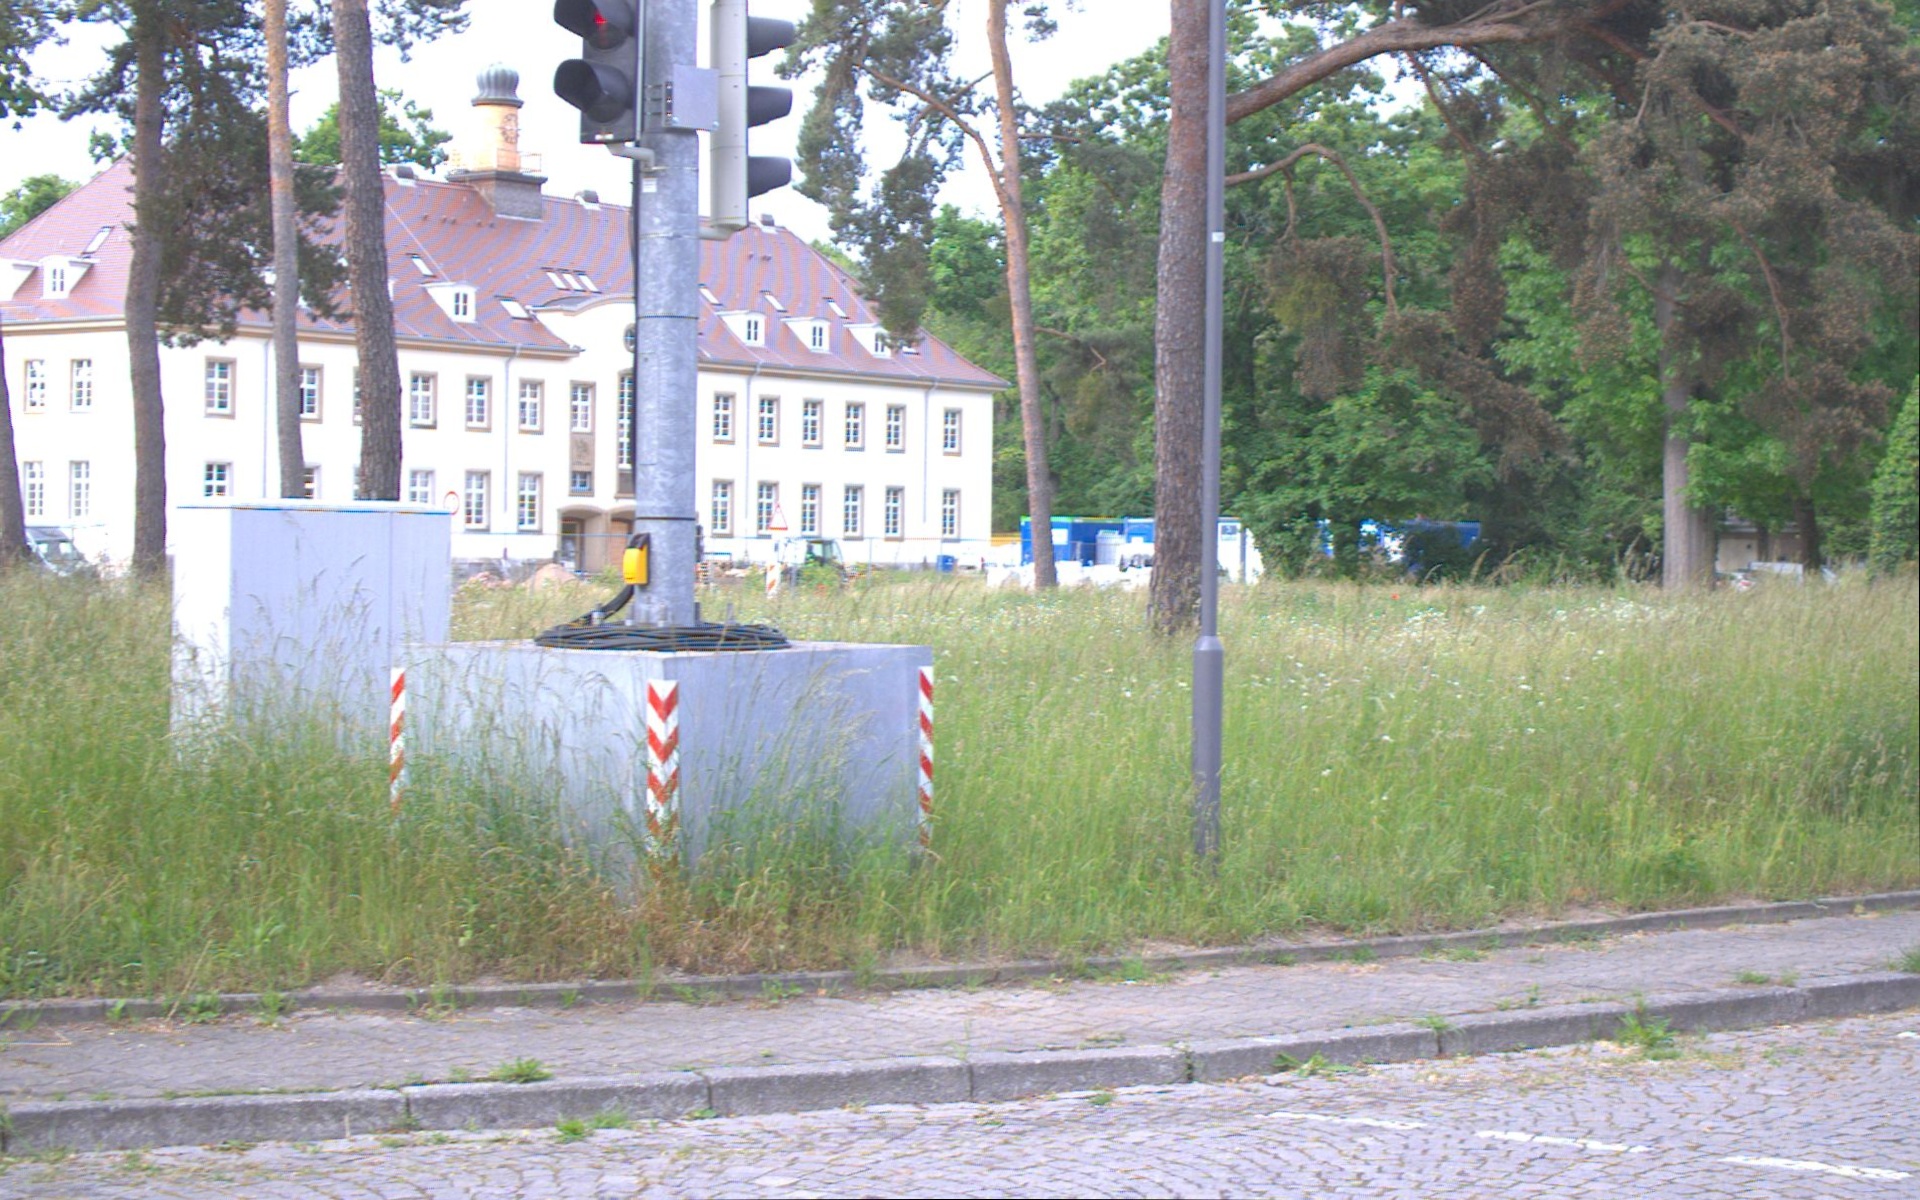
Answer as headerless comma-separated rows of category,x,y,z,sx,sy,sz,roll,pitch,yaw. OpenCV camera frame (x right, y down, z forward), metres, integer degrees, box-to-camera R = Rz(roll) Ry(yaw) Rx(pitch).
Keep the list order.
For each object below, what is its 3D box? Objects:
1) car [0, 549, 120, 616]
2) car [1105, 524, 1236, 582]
car,-31.334,-0.626,117.608,5.030,2.192,1.997,1,1,30
car,7.668,-1.686,124.956,1.998,2.007,5.218,1,0,40
